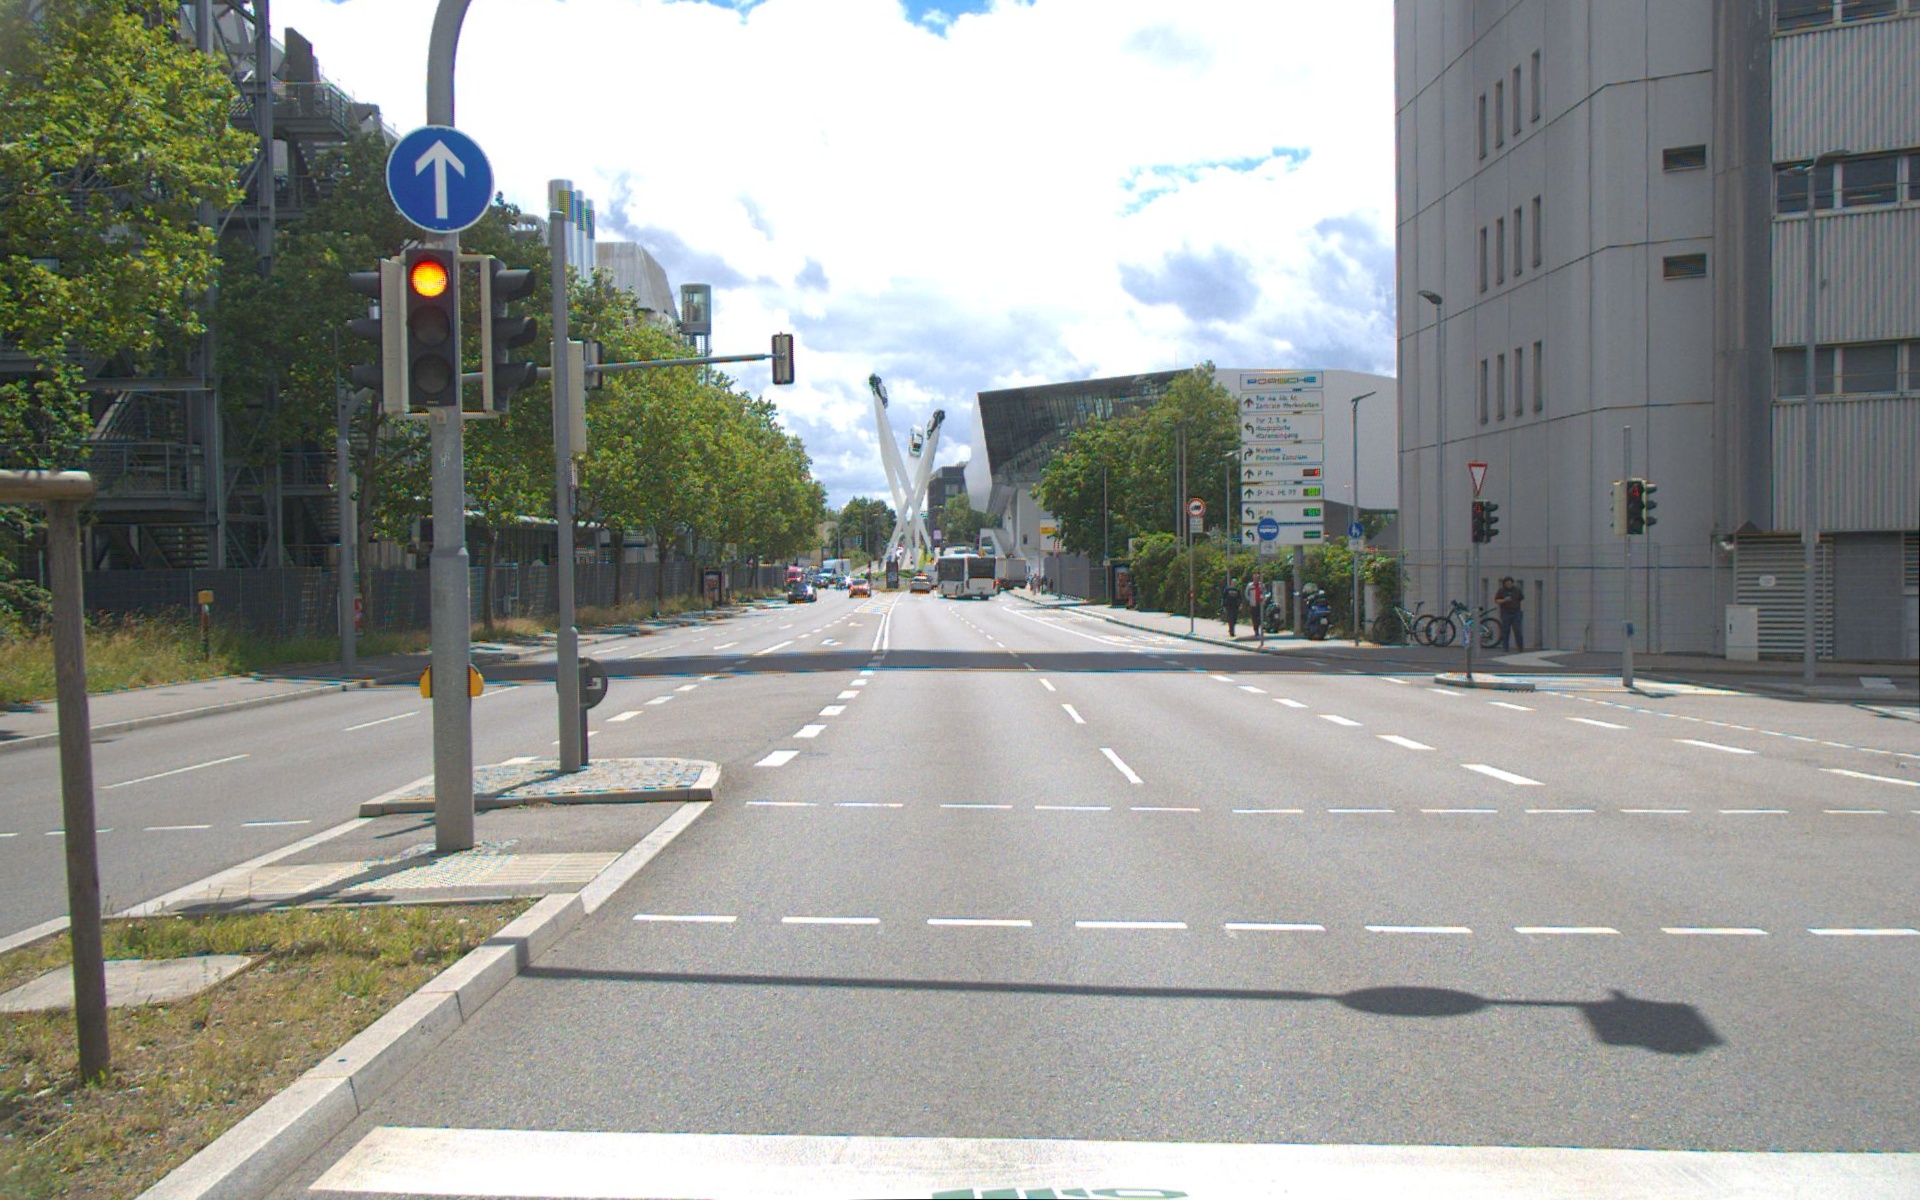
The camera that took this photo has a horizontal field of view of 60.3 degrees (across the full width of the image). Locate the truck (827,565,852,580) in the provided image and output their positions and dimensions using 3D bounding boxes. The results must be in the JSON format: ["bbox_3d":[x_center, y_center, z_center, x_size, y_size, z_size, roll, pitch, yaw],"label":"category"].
[{"bbox_3d":[-16.534,-3.752,226.990,1.723,2.049,4.443,0,0,22],"label":"truck"}]

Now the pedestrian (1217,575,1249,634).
[{"bbox_3d":[8.155,0.136,49.448,0.803,1.737,0.881,0,0,-1],"label":"pedestrian"}]

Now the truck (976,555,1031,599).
[{"bbox_3d":[4.584,-2.364,171.734,3.379,4.468,9.426,0,0,17],"label":"truck"}]

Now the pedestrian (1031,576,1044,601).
[{"bbox_3d":[6.449,-0.953,137.951,1.008,2.049,0.883,1,-1,-5],"label":"pedestrian"}]

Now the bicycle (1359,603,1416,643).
[{"bbox_3d":[10.615,0.551,41.113,0.391,0.953,1.917,0,0,-19],"label":"bicycle"}]

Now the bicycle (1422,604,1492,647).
[{"bbox_3d":[11.649,0.584,38.842,0.392,0.953,1.912,0,0,-26],"label":"bicycle"}]

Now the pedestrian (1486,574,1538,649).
[{"bbox_3d":[12.451,0.254,37.324,0.834,1.653,0.951,0,0,40],"label":"pedestrian"}]

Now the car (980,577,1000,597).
[{"bbox_3d":[2.696,-1.158,149.370,1.703,1.772,3.691,0,0,-1],"label":"car"}]

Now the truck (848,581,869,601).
[{"bbox_3d":[-8.179,-0.729,133.026,1.553,1.564,3.673,0,0,-6],"label":"truck"}]

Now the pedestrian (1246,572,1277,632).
[{"bbox_3d":[8.985,0.045,49.315,0.803,1.772,0.637,0,0,-1],"label":"pedestrian"}]

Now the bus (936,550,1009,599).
[{"bbox_3d":[0.861,-1.874,126.967,3.392,3.605,10.572,0,0,-13],"label":"bus"}]

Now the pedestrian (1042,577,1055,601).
[{"bbox_3d":[7.448,-0.926,139.050,1.008,2.049,0.883,1,-1,-5],"label":"pedestrian"}]

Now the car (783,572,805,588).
[{"bbox_3d":[-20.946,-2.536,208.836,1.951,2.049,4.003,0,0,8],"label":"car"}]

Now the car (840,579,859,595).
[{"bbox_3d":[-11.908,-1.402,178.407,1.784,1.564,3.673,-2,0,-7],"label":"car"}]

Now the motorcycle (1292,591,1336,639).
[{"bbox_3d":[9.618,0.381,45.021,0.692,1.224,2.024,-2,1,-1],"label":"motorcycle"}]

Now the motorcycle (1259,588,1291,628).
[{"bbox_3d":[10.064,0.235,52.887,0.562,1.224,2.024,-2,1,-1],"label":"motorcycle"}]

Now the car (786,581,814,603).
[{"bbox_3d":[-11.814,-0.604,122.327,1.782,1.564,3.677,-2,0,-2],"label":"car"}]

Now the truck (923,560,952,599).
[{"bbox_3d":[-2.347,-2.104,172.370,2.341,3.965,6.181,0,0,6],"label":"truck"}]

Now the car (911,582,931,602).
[{"bbox_3d":[-3.513,-0.727,148.670,1.703,1.772,3.691,0,0,-1],"label":"car"}]

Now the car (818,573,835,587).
[{"bbox_3d":[-15.389,-2.320,190.191,1.784,1.564,3.673,-2,0,-6],"label":"car"}]
